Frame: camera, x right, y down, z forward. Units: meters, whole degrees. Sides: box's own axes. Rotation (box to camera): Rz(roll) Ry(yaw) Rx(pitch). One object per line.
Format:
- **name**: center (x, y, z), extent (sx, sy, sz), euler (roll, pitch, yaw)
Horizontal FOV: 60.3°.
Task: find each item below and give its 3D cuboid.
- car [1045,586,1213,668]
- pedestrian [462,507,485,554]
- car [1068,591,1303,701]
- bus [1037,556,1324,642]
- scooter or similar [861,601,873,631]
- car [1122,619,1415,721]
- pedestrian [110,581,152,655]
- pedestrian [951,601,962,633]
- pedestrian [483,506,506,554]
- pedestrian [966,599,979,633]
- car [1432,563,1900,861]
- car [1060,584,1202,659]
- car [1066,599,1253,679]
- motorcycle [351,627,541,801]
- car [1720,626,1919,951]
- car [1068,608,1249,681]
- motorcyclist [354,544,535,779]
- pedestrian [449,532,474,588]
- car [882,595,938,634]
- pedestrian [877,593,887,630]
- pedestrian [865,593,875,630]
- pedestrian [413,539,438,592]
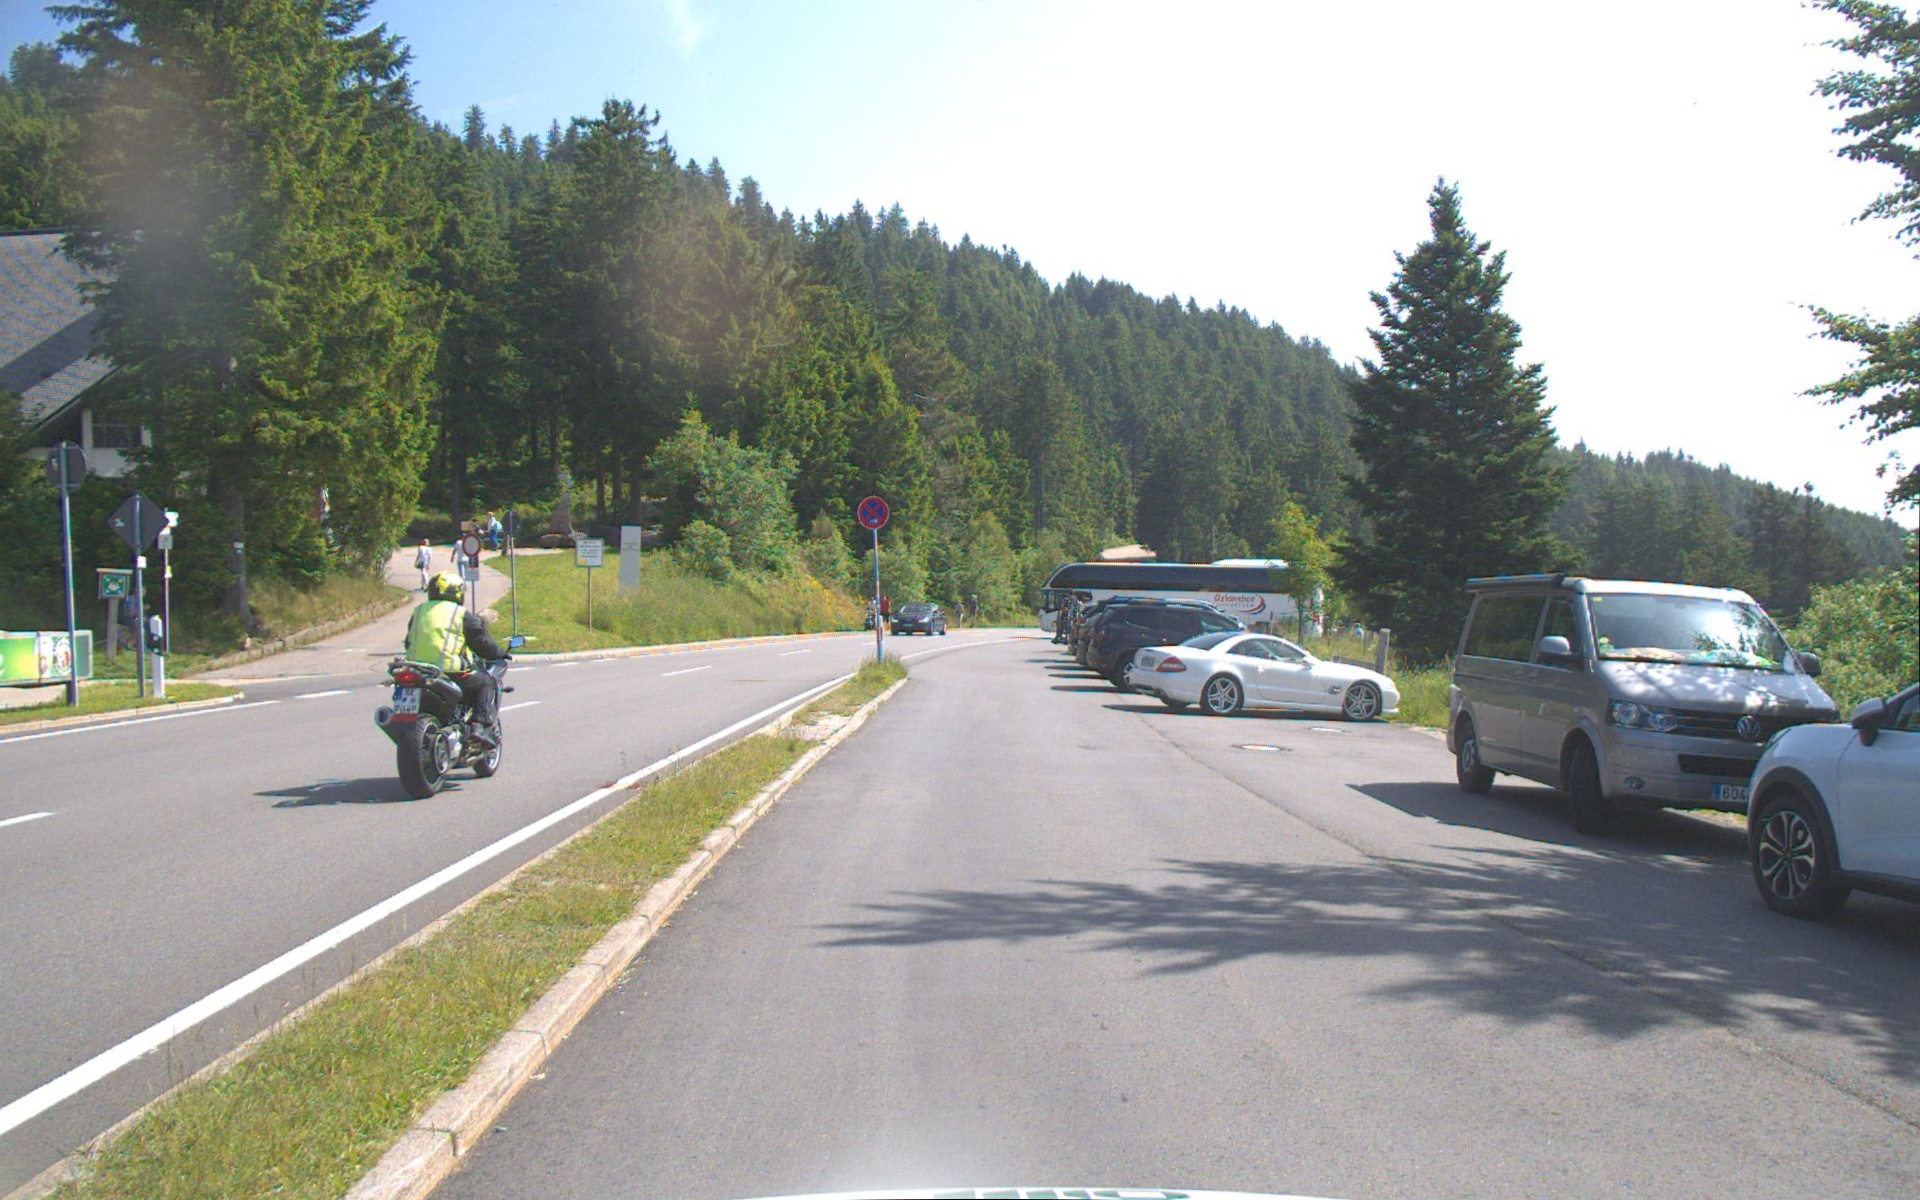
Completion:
- **car**: center (4.179, 0.656, 41.389), extent (3.906, 1.749, 1.867), euler (3, 2, -1)
- **pedestrian**: center (-21.680, -3.079, 73.712), extent (0.783, 2.048, 0.938), euler (-2, 2, -9)
- **car**: center (4.194, 0.847, 31.146), extent (3.913, 1.728, 1.997), euler (4, 1, -9)
- **bus**: center (9.951, -0.112, 74.781), extent (12.587, 3.640, 2.984), euler (0, 2, 16)
- **scooter or similar**: center (-4.440, 0.774, 79.184), extent (0.473, 1.404, 0.817), euler (-2, 2, -1)
- **car**: center (4.961, 1.124, 26.647), extent (4.383, 1.321, 1.575), euler (4, 0, -18)
- **pedestrian**: center (-18.116, 0.389, 36.150), extent (0.565, 1.559, 0.552), euler (-2, 2, -1)
- **pedestrian**: center (-0.239, 1.039, 102.289), extent (0.610, 1.933, 0.654), euler (-2, -1, -1)
- **pedestrian**: center (-20.565, -3.086, 73.066), extent (0.800, 2.048, 0.852), euler (-2, 2, -9)
- **pedestrian**: center (0.759, 0.967, 100.980), extent (0.718, 2.049, 0.862), euler (-2, -1, -1)
- **car**: center (5.711, 0.784, 14.178), extent (1.866, 2.006, 4.819), euler (3, 0, 0)
- **car**: center (4.944, 0.606, 48.355), extent (3.905, 1.845, 1.940), euler (3, 2, 1)
- **car**: center (4.476, 0.868, 37.533), extent (3.907, 1.478, 2.000), euler (3, 2, -2)
- **motorcycle**: center (-3.906, 0.818, 12.778), extent (0.805, 1.197, 2.285), euler (0, 0, -2)
- **car**: center (5.457, 0.958, 7.835), extent (1.646, 1.544, 4.047), euler (3, -1, -3)
- **car**: center (4.154, 0.928, 34.992), extent (3.563, 1.326, 1.641), euler (2, 2, -2)
- **motorcyclist**: center (-3.914, 0.449, 12.670), extent (1.005, 1.704, 1.292), euler (0, -1, -2)
- **pedestrian**: center (-16.631, -1.326, 55.193), extent (0.640, 1.830, 0.642), euler (-1, -1, -7)
- **car**: center (-2.230, 0.633, 74.741), extent (1.951, 1.691, 4.003), euler (-1, 0, 6)
- **pedestrian**: center (-3.738, 0.554, 79.484), extent (0.386, 1.777, 0.406), euler (-2, 2, -1)
- **pedestrian**: center (-4.322, 0.562, 79.820), extent (0.406, 1.777, 0.457), euler (-2, 2, -1)
- **pedestrian**: center (-17.568, -1.133, 54.378), extent (0.640, 1.696, 0.642), euler (-1, -1, -7)
